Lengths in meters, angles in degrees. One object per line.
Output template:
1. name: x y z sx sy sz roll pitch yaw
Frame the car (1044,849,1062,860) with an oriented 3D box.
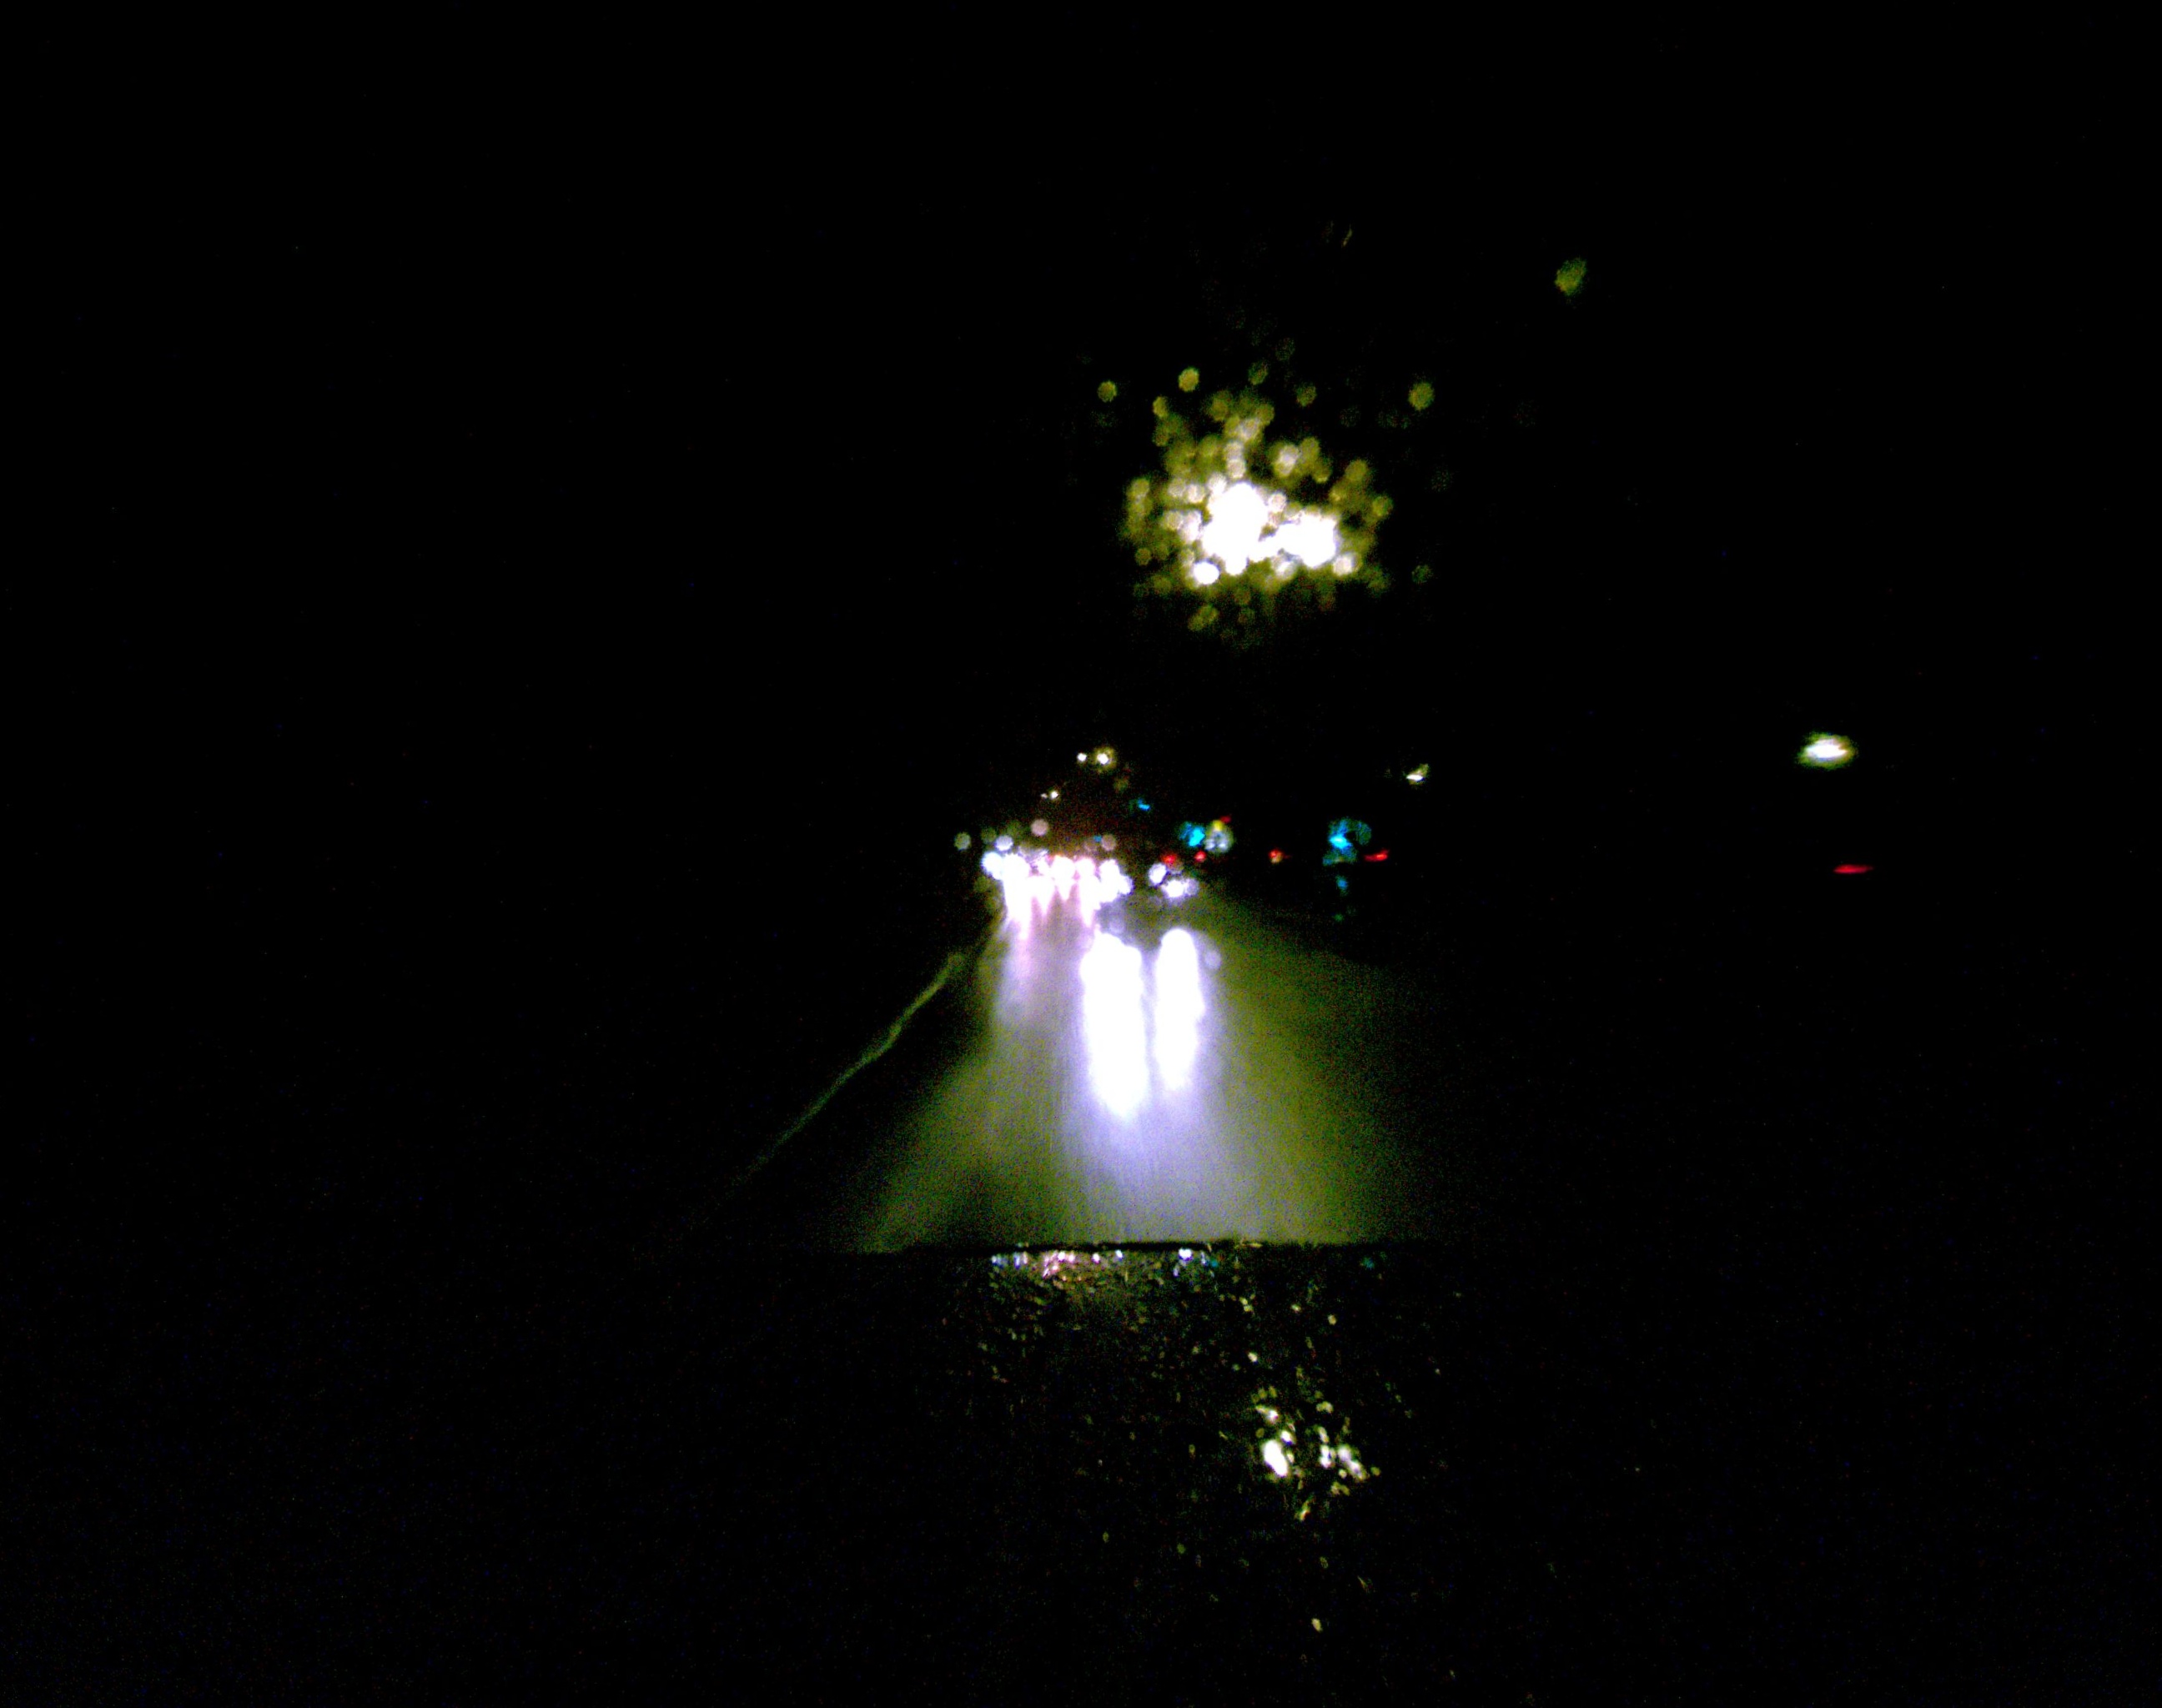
1. car: -4.178 0.127 114.299 1.705 1.562 4.705 -2 1 -14

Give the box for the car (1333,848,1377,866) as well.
1. car: 28.469 0.314 78.929 4.090 1.773 2.003 0 2 25

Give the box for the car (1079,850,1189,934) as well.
1. car: 1.103 0.772 18.221 1.915 1.694 4.936 -1 1 -4

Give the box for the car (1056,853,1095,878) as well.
1. car: -0.428 0.719 50.516 2.000 1.456 3.996 -2 2 -9

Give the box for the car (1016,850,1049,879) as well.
1. car: -3.302 0.666 50.909 1.878 1.825 4.202 -2 1 -8

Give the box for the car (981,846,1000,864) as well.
1. car: -10.753 0.085 90.408 1.999 2.002 3.998 -1 0 -5

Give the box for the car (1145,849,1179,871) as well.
1. car: 6.290 0.463 59.166 1.713 1.525 4.596 -1 2 -5

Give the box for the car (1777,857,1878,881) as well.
1. car: 50.503 0.964 51.564 2.000 1.390 4.548 -2 2 -12

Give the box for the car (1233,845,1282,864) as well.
1. car: 19.548 0.068 84.188 4.911 1.929 2.003 0 2 28

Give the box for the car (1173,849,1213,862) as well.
1. car: 13.096 0.138 88.915 4.124 1.441 2.185 0 2 38

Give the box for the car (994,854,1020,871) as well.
1. car: -7.116 0.814 72.652 2.000 1.456 3.995 -2 2 -12
